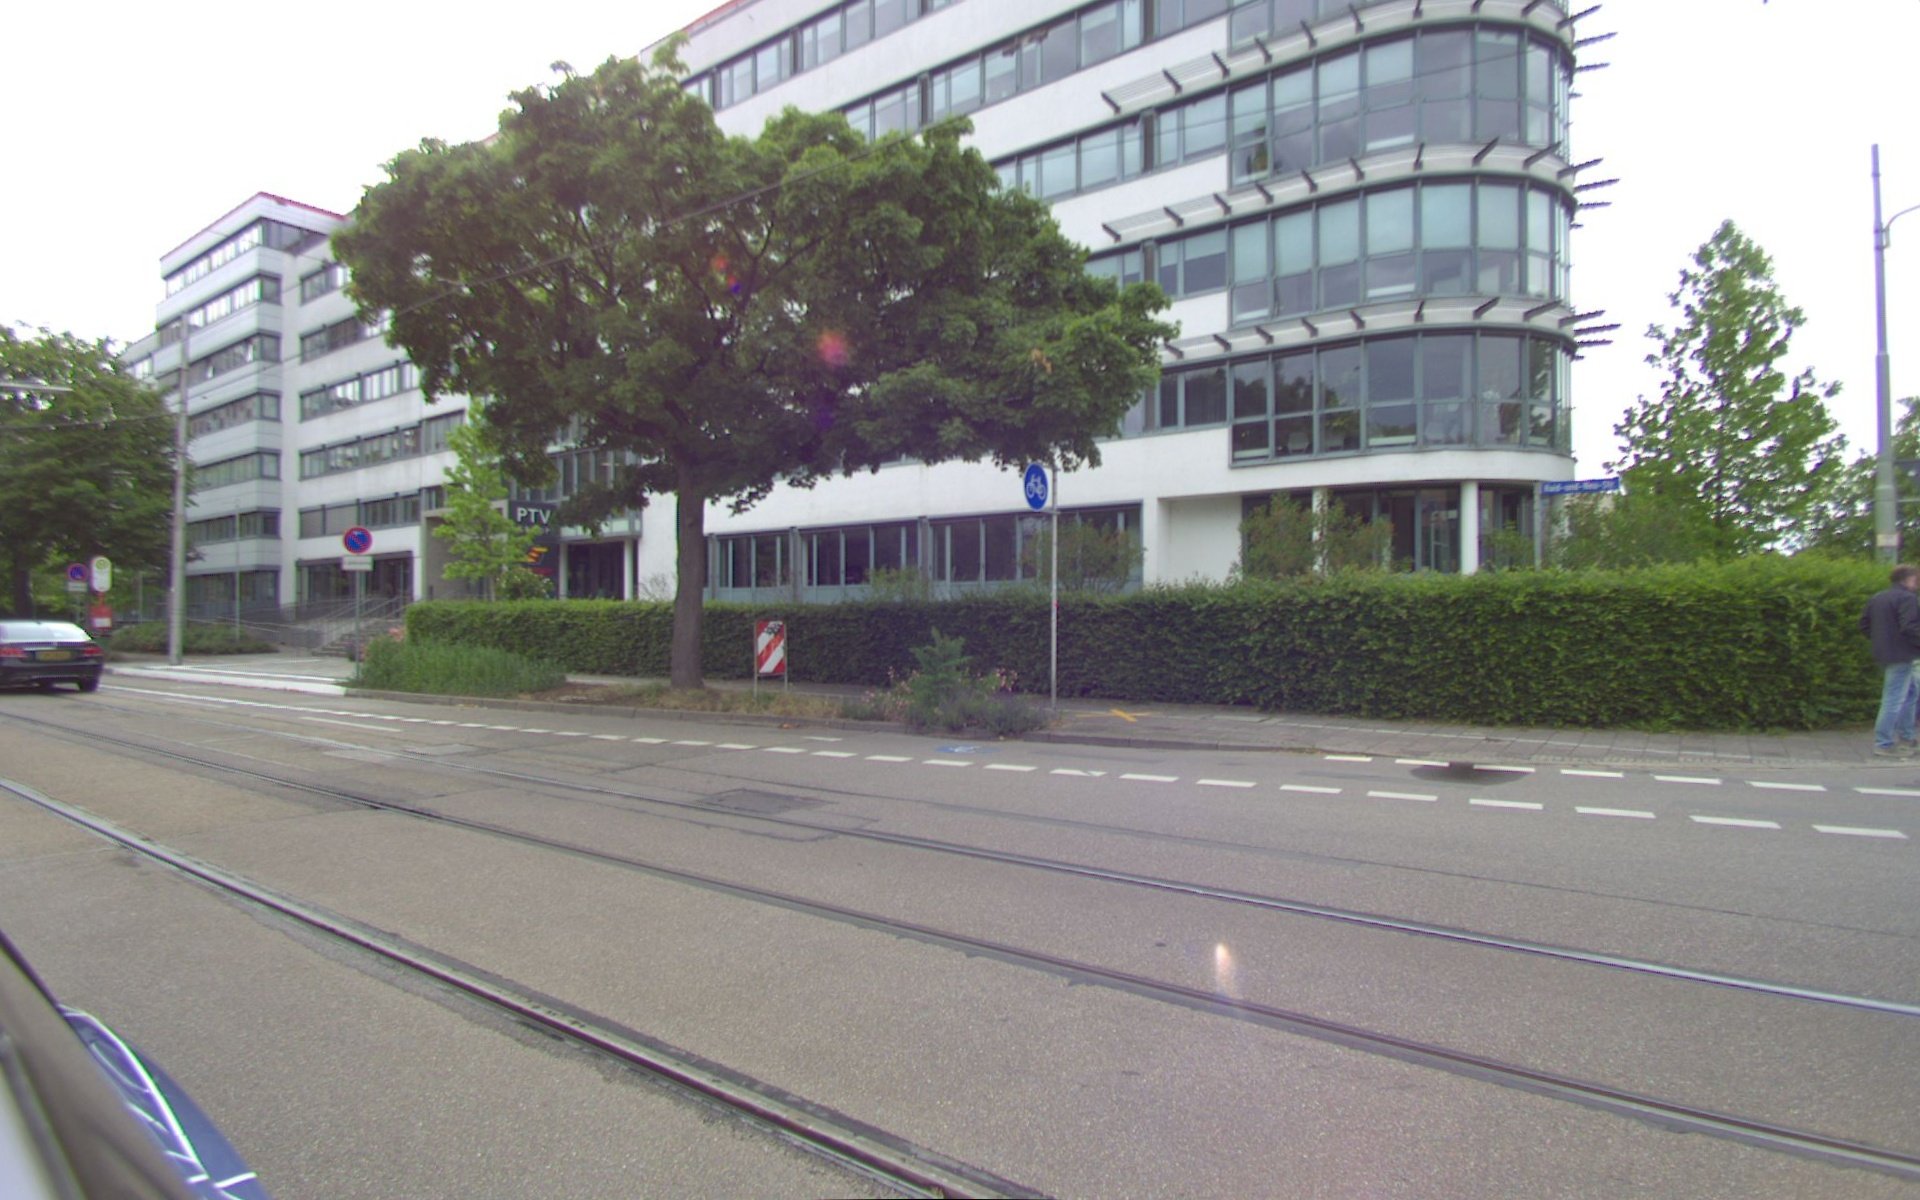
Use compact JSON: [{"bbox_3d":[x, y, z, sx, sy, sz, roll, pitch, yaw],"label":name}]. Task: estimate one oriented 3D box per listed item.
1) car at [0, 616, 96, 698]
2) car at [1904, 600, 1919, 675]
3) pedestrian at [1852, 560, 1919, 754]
[{"bbox_3d":[-19.948,1.130,21.175,4.469,1.558,1.781,-1,-1,35],"label":"car"},{"bbox_3d":[21.715,0.810,21.342,1.995,1.663,3.954,-1,-1,34],"label":"car"},{"bbox_3d":[9.413,0.535,9.854,1.059,1.839,0.795,-1,0,41],"label":"pedestrian"}]
